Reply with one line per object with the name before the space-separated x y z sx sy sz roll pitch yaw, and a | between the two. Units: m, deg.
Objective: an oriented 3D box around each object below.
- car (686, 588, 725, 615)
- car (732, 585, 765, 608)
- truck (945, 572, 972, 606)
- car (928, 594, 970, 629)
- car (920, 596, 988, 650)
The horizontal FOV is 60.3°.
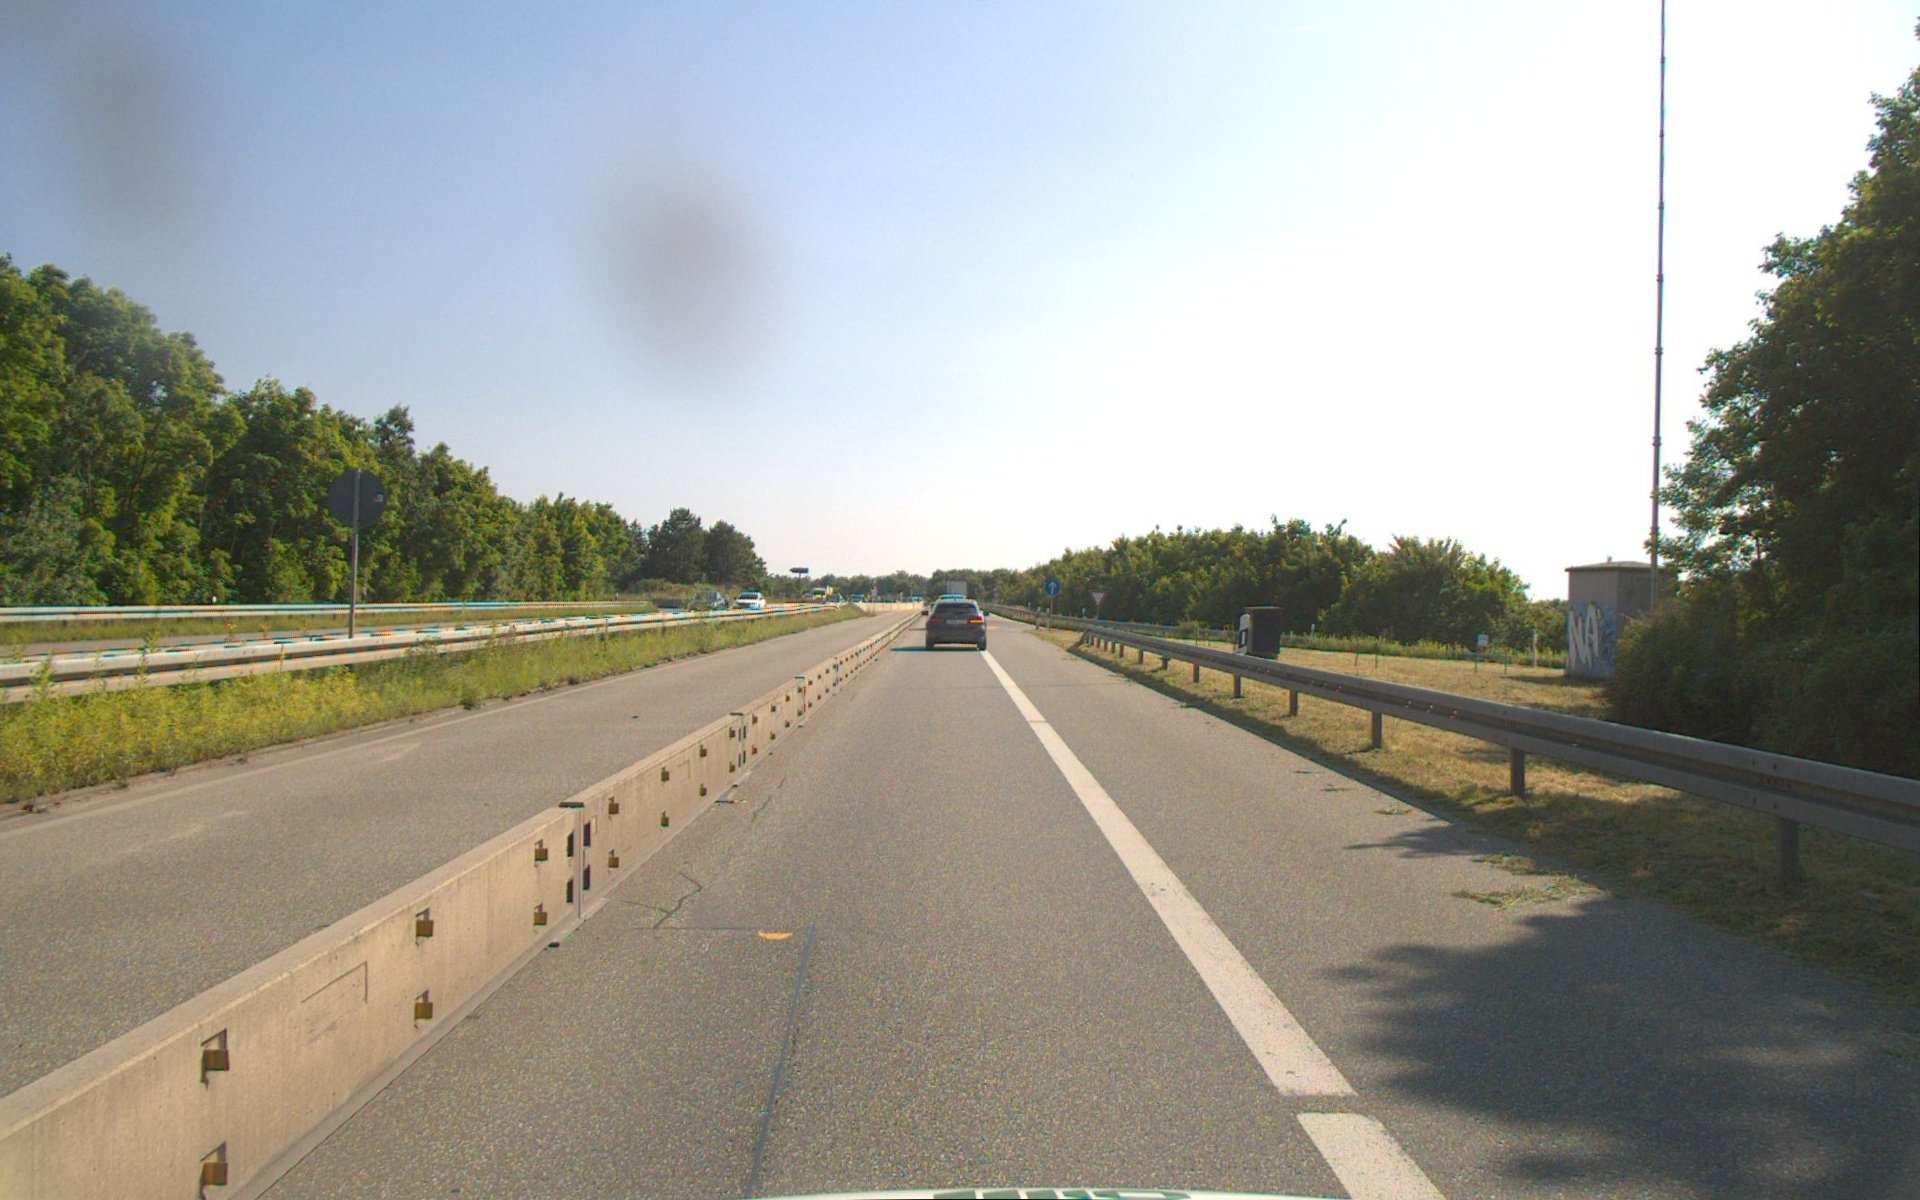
car | -15.005 0.084 97.788 1.703 1.520 4.109 1 0 -1
car | -14.470 -0.257 113.229 1.724 1.496 4.793 2 0 -1
truck | -0.242 -1.658 251.664 3.685 4.997 14.133 1 0 -1
car | -0.505 0.539 78.226 1.953 1.594 4.000 0 0 0
car | -0.209 0.640 48.489 1.881 1.520 3.999 0 0 -2
